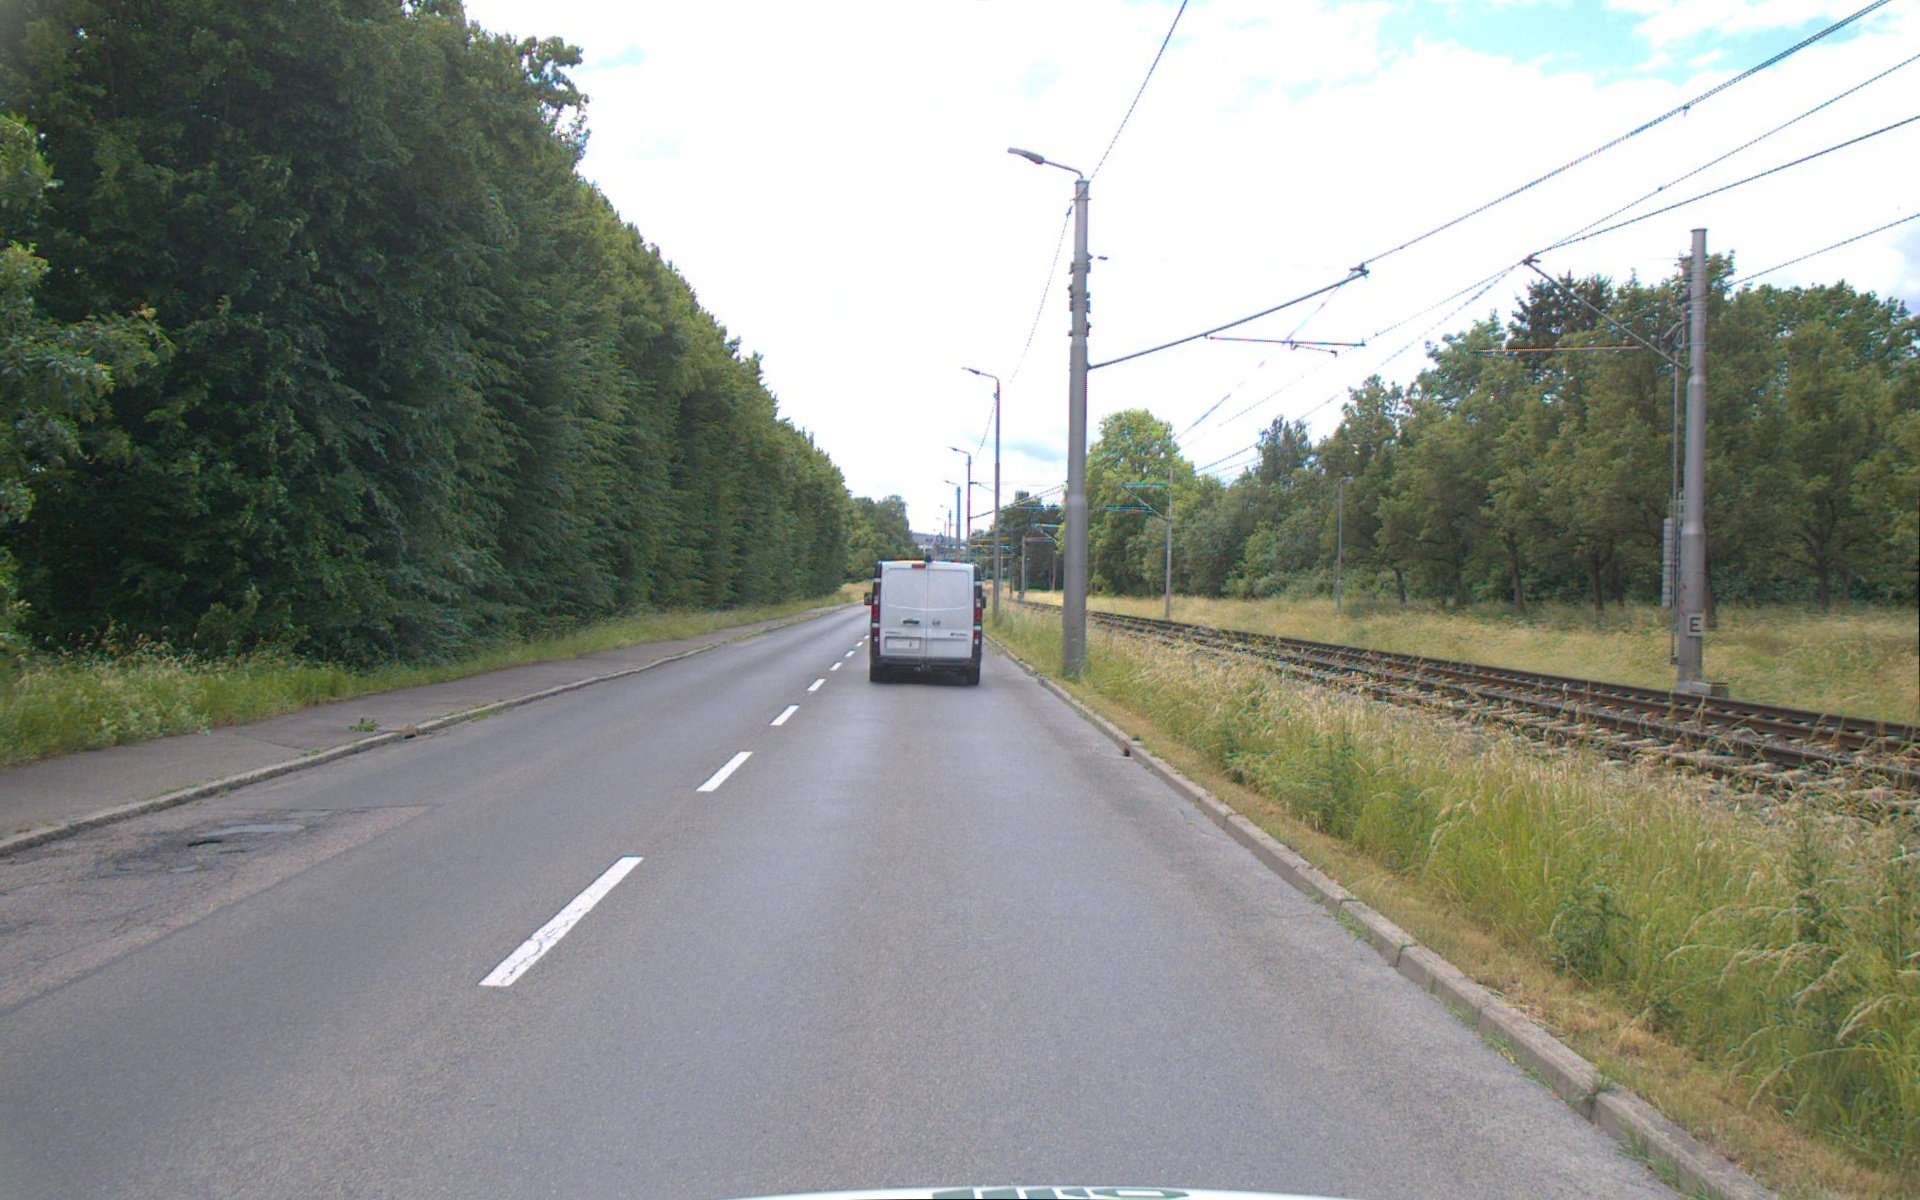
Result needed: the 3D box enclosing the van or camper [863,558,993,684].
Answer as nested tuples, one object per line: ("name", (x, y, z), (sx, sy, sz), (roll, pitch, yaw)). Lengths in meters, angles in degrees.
("van or camper", (-0.620, 0.322, 28.101), (1.904, 1.930, 4.280), (2, 0, -5))
